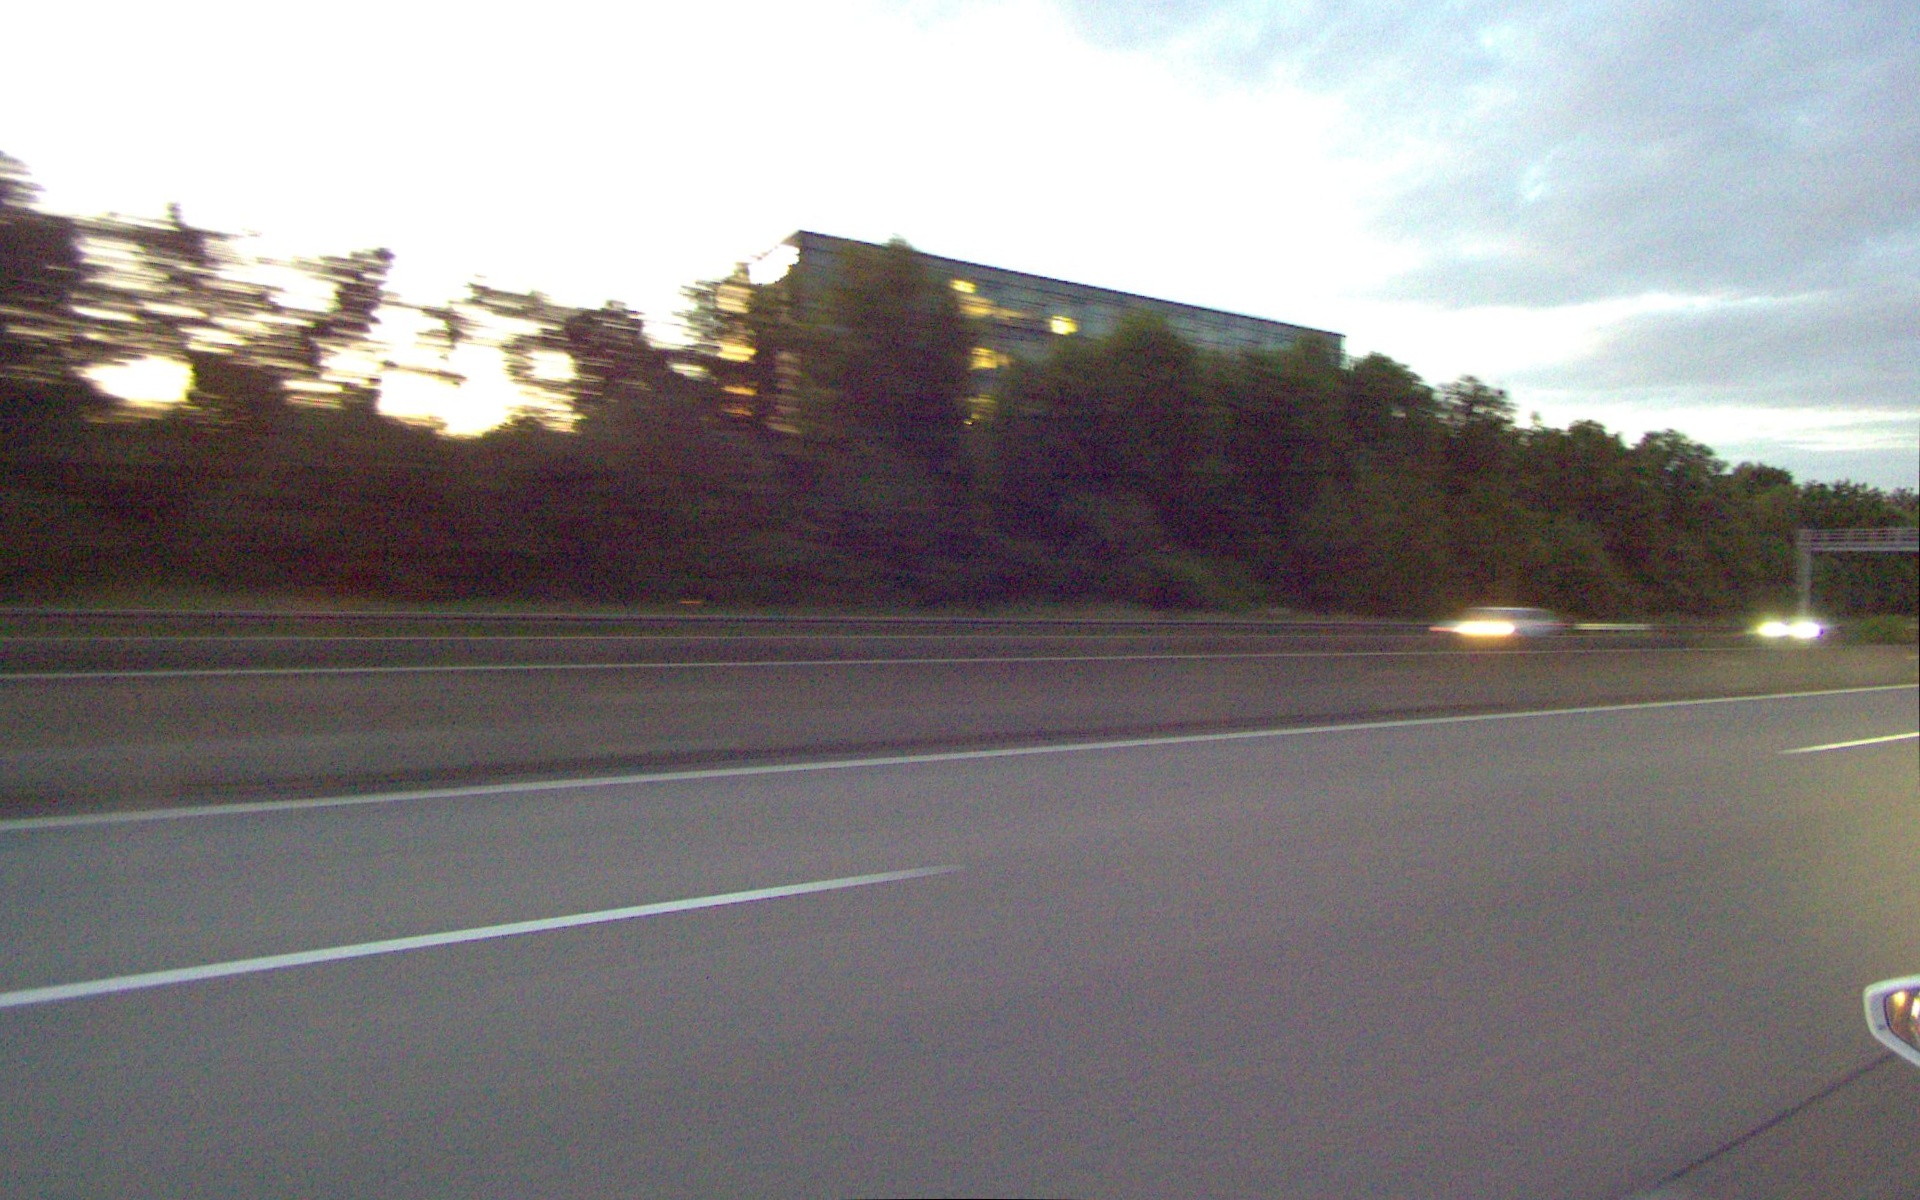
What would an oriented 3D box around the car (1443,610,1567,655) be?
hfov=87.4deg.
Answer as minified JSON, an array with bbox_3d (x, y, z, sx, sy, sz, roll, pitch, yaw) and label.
[{"bbox_3d":[19.975,1.186,36.796,4.454,1.525,1.983,2,0,-31],"label":"car"}]

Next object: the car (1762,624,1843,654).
[{"bbox_3d":[47.218,2.170,56.272,4.950,1.554,1.983,2,0,-32],"label":"car"}]
